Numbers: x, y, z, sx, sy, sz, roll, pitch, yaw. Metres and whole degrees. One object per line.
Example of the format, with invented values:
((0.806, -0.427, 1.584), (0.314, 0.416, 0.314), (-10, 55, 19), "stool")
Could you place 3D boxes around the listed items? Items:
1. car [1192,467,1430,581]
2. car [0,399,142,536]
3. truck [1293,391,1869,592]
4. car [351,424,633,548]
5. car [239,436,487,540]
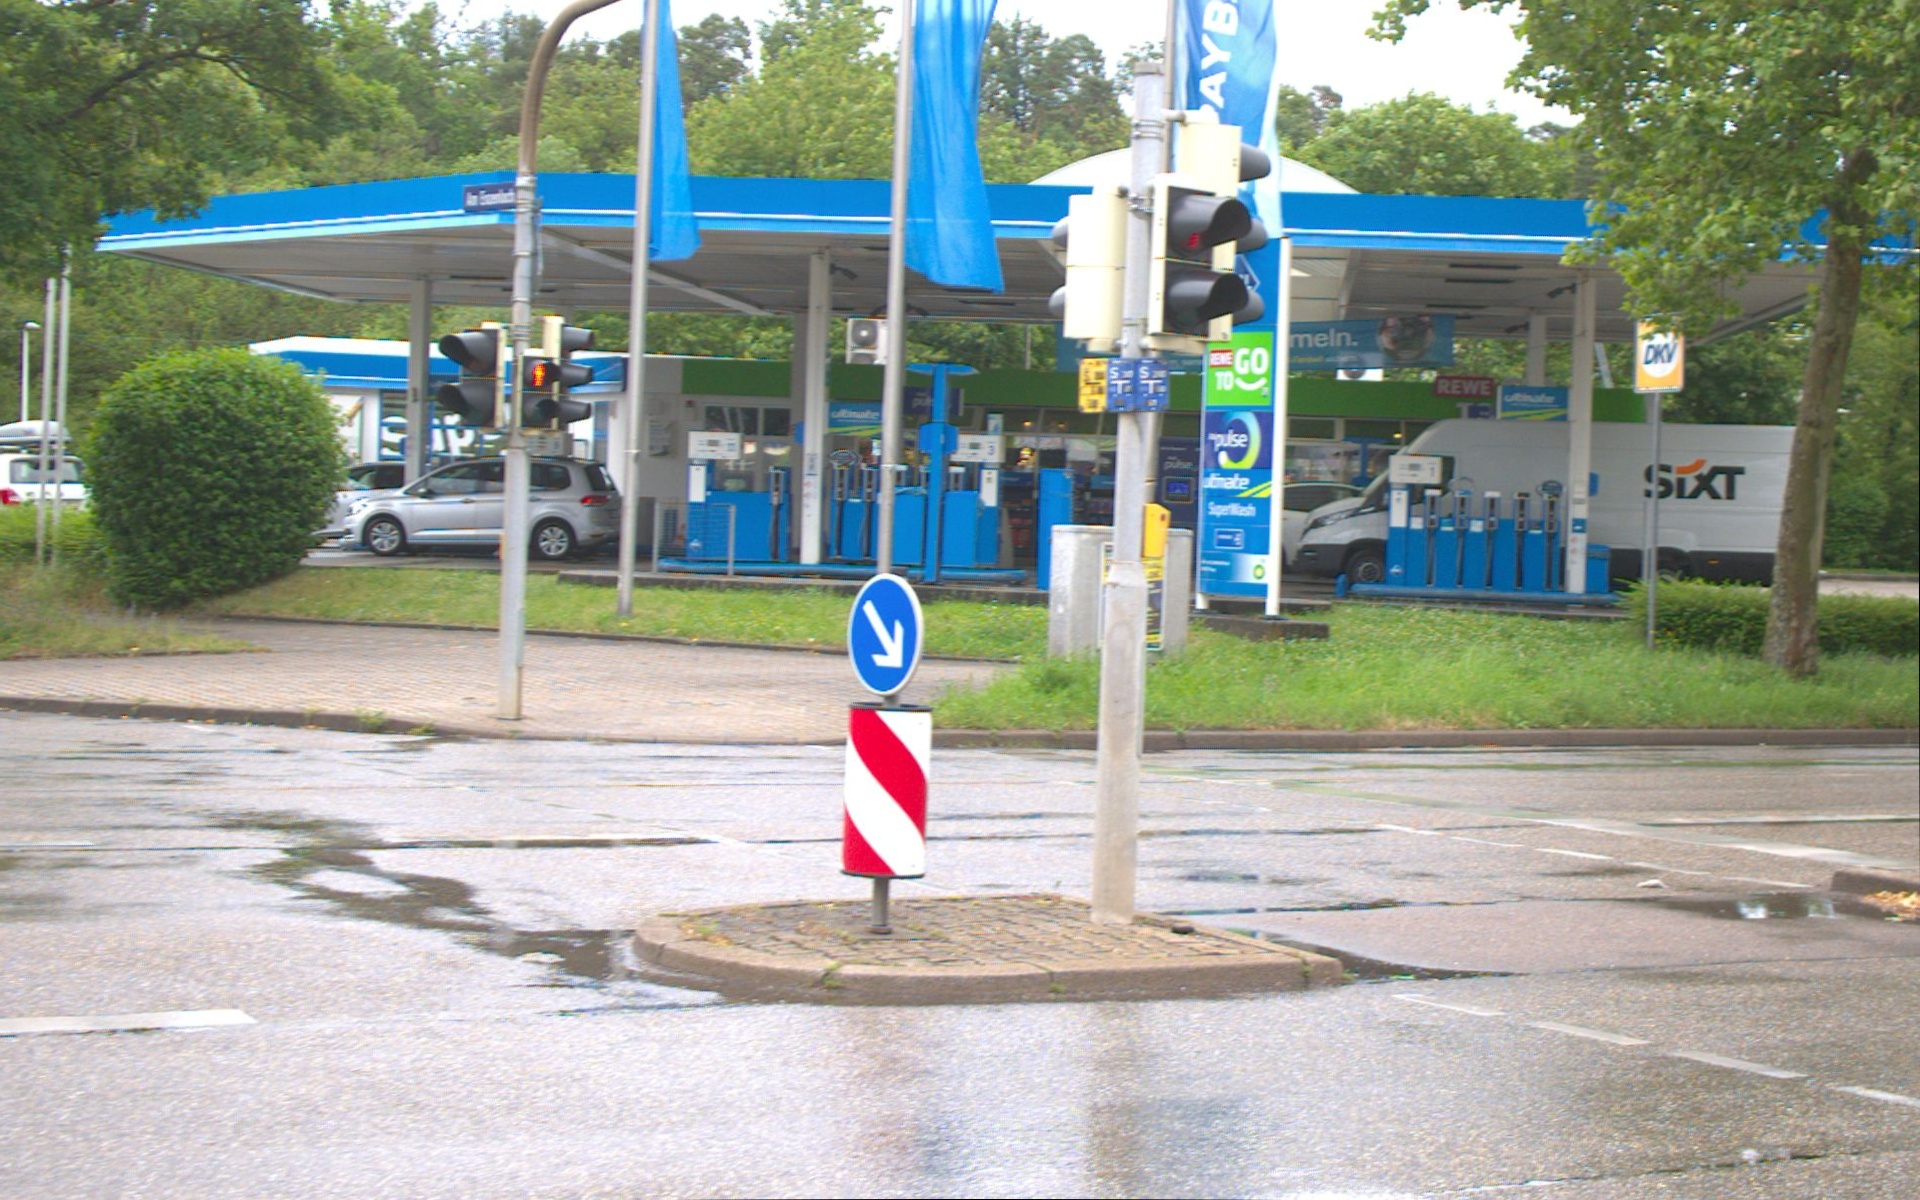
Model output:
((5.572, -1.196, 54.420), (3.553, 1.576, 1.688), (4, 1, 10), "car")
((-13.166, -1.856, 48.289), (1.809, 1.791, 3.699), (2, 1, -38), "car")
((8.752, -1.540, 49.069), (7.848, 2.666, 2.155), (1, 1, 4), "truck")
((-7.532, -1.827, 55.543), (4.116, 1.801, 1.945), (2, 1, 6), "car")
((-10.612, -1.982, 61.262), (3.988, 1.722, 1.794), (2, 1, 6), "car")
